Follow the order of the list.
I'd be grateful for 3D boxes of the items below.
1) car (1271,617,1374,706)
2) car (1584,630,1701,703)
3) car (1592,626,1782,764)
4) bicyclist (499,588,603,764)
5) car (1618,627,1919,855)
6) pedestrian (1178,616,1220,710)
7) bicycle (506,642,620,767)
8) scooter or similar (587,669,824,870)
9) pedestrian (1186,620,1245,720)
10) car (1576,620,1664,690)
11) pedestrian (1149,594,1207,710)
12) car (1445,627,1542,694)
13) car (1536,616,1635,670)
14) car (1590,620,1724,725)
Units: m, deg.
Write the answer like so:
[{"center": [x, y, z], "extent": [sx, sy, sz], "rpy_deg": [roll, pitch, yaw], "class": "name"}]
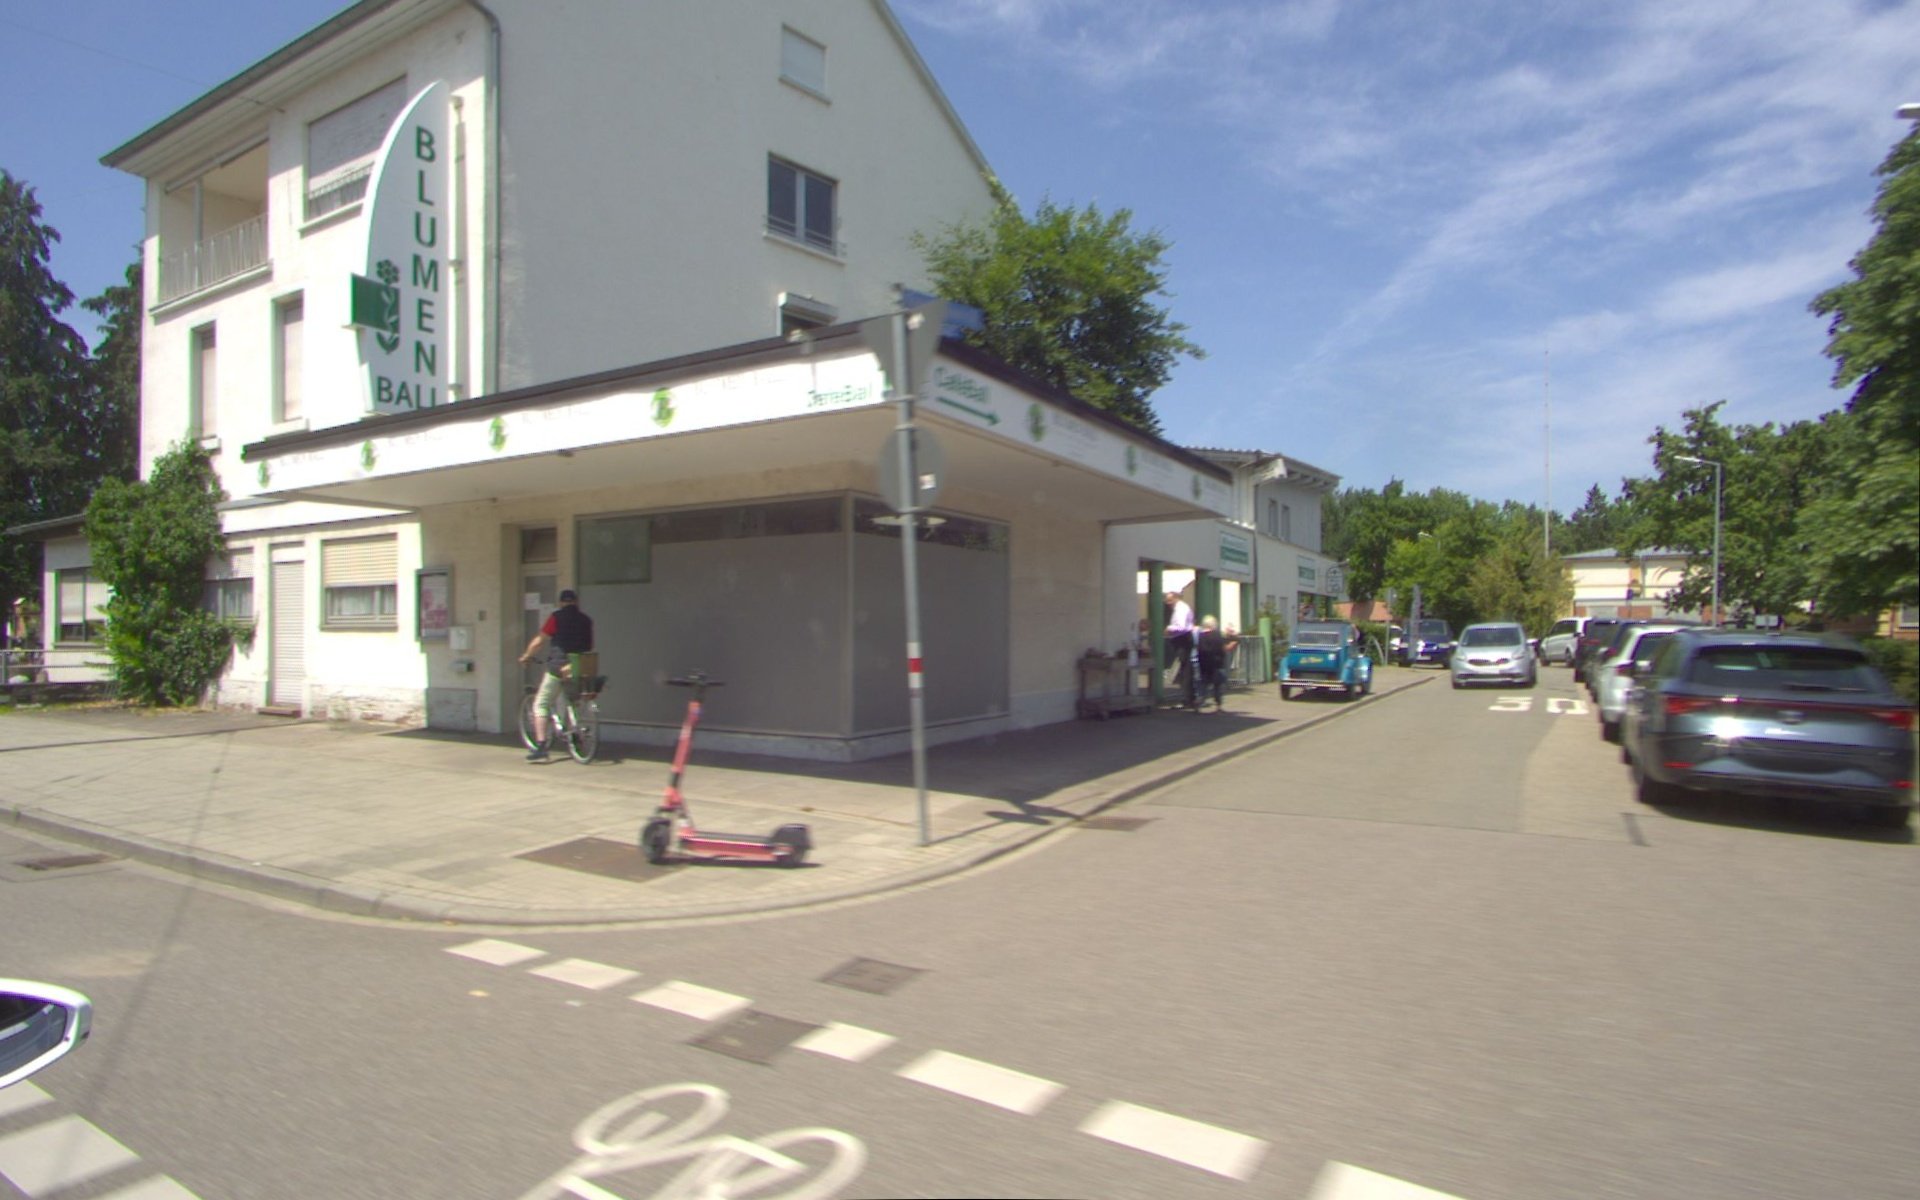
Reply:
[{"center": [7.670, 1.209, 20.998], "extent": [1.564, 1.639, 3.987], "rpy_deg": [1, -1, 26], "class": "car"}, {"center": [14.816, 1.375, 21.940], "extent": [1.824, 1.371, 4.274], "rpy_deg": [0, -1, 30], "class": "car"}, {"center": [9.496, 1.117, 13.377], "extent": [1.686, 1.450, 4.319], "rpy_deg": [2, 0, 32], "class": "car"}, {"center": [-4.394, 0.777, 10.746], "extent": [0.914, 1.784, 0.723], "rpy_deg": [0, 0, 44], "class": "bicyclist"}, {"center": [6.920, 0.999, 8.845], "extent": [1.686, 1.450, 4.218], "rpy_deg": [2, 0, 32], "class": "car"}, {"center": [4.252, 1.107, 17.810], "extent": [0.618, 1.633, 0.475], "rpy_deg": [0, 0, 33], "class": "pedestrian"}, {"center": [-4.329, 1.082, 10.846], "extent": [1.884, 1.213, 0.373], "rpy_deg": [0, 0, 43], "class": "bicycle"}, {"center": [-1.611, 1.052, 6.372], "extent": [1.439, 1.193, 0.340], "rpy_deg": [0, 0, 8], "class": "scooter or similar"}, {"center": [4.152, 1.102, 16.240], "extent": [0.697, 1.563, 0.909], "rpy_deg": [0, 0, 32], "class": "pedestrian"}, {"center": [17.476, 1.400, 26.663], "extent": [1.759, 1.720, 3.675], "rpy_deg": [0, -1, 30], "class": "car"}, {"center": [3.746, 0.873, 17.188], "extent": [0.739, 1.928, 0.854], "rpy_deg": [0, 0, 33], "class": "pedestrian"}, {"center": [13.532, 1.453, 25.294], "extent": [1.971, 1.549, 3.981], "rpy_deg": [-1, -2, 31], "class": "car"}, {"center": [23.725, 1.618, 38.198], "extent": [1.838, 1.924, 4.661], "rpy_deg": [0, -2, 14], "class": "car"}, {"center": [12.082, 1.173, 17.564], "extent": [1.686, 1.583, 3.685], "rpy_deg": [2, 0, 32], "class": "car"}]
